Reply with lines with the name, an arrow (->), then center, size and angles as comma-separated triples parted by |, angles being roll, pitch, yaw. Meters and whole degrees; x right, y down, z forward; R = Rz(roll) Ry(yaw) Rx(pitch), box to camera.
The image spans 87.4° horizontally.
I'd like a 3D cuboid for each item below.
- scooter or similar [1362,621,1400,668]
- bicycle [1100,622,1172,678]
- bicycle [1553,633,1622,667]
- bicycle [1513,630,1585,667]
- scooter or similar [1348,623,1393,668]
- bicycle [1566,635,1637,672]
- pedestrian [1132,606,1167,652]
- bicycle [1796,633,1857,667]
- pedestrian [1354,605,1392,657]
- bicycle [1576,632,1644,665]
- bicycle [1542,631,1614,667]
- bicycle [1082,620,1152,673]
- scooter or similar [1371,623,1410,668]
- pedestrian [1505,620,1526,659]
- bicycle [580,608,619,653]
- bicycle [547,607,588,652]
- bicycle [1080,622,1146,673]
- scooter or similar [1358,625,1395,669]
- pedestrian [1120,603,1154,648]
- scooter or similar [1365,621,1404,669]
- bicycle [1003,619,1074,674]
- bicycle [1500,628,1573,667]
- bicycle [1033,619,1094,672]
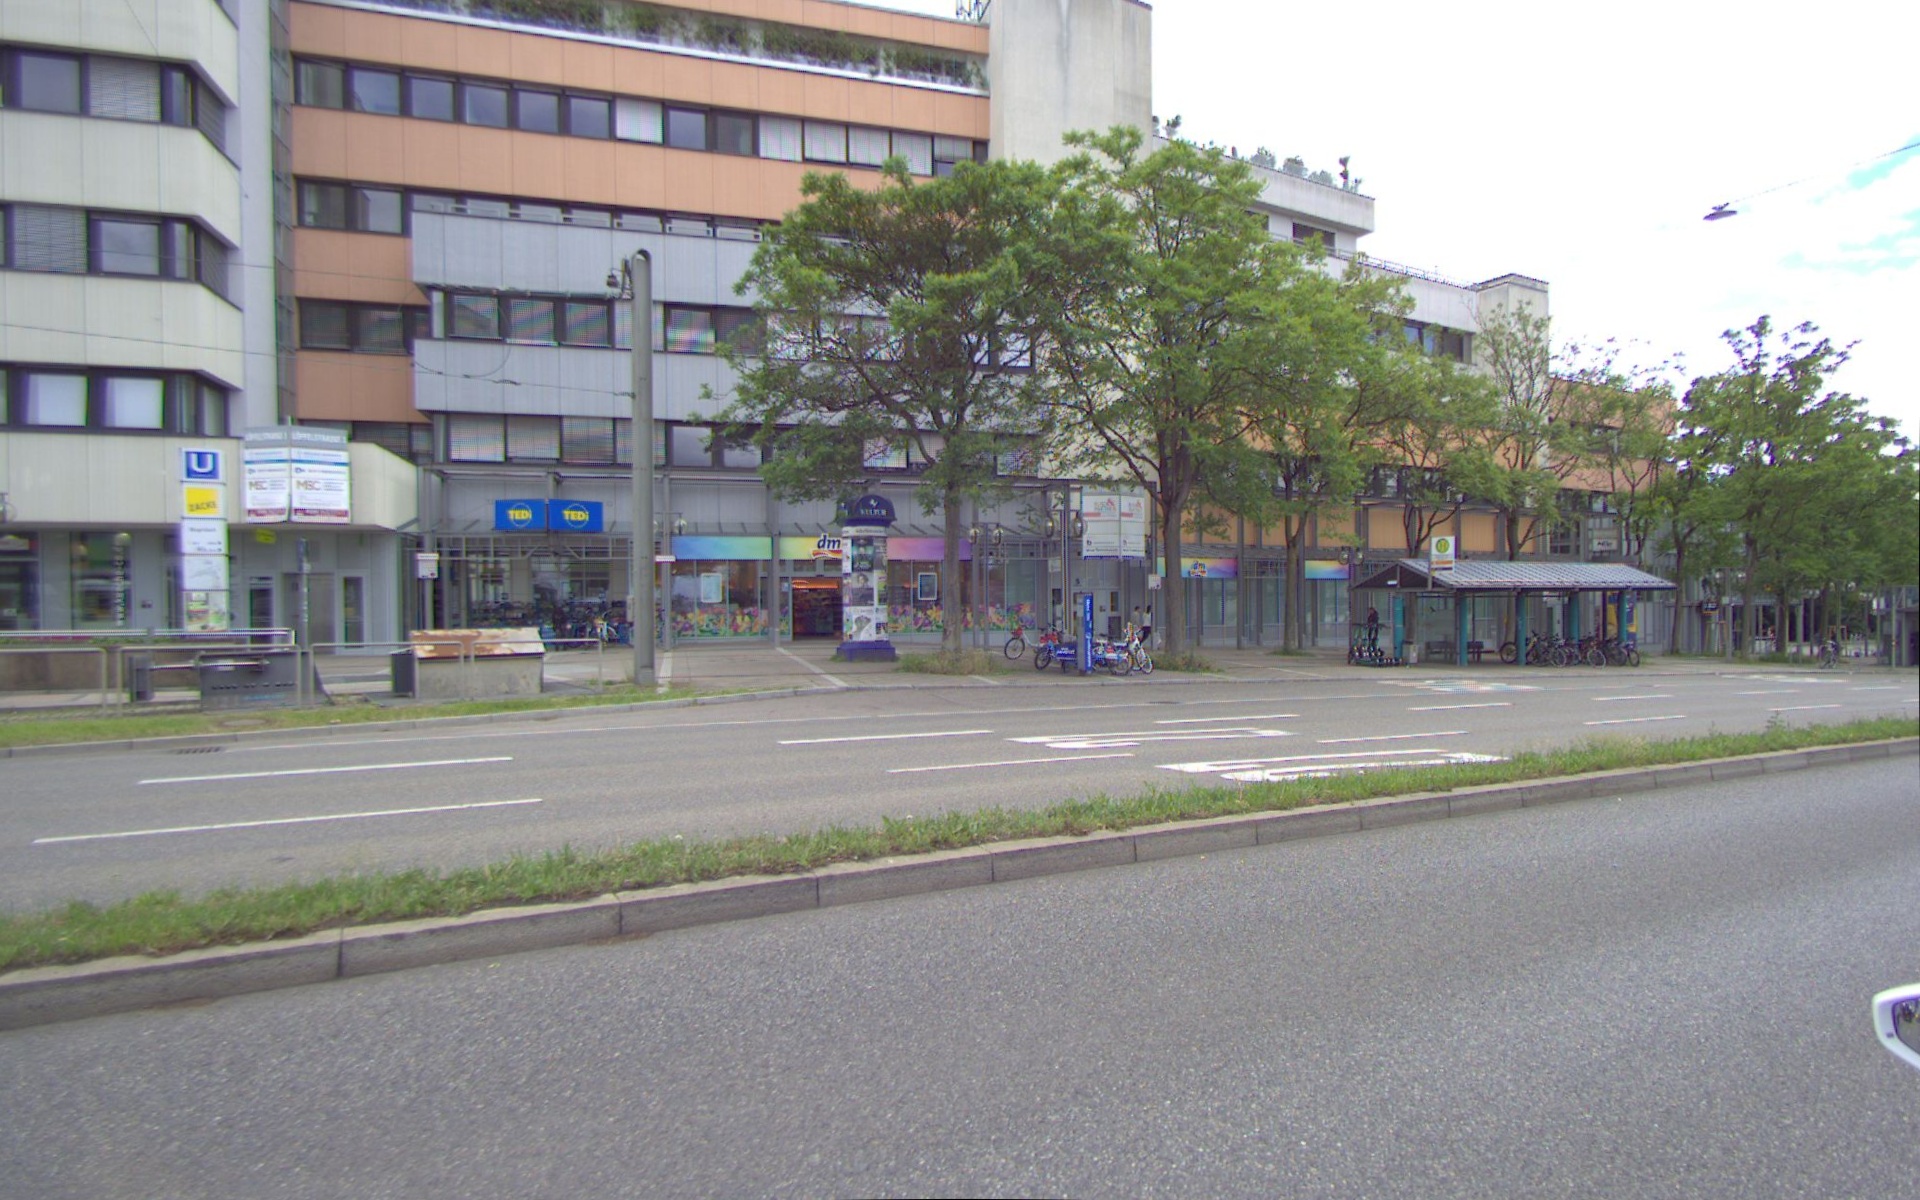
scooter or similar -> 12.934, 1.362, 30.893 | 0.219, 1.403, 1.196 | 1, -1, -30
bicycle -> 4.153, 1.175, 23.732 | 1.649, 1.270, 0.627 | 1, -1, 9
bicycle -> 22.959, 1.809, 36.776 | 0.706, 1.169, 2.048 | 1, -1, -39
bicycle -> 20.886, 1.703, 35.644 | 0.706, 1.169, 2.048 | 1, 1, -39
scooter or similar -> 12.446, 1.368, 30.483 | 0.335, 1.286, 1.315 | 1, 1, -30
bicycle -> 23.790, 1.953, 37.301 | 0.706, 1.169, 2.048 | 1, 2, -39
pedestrian -> 6.826, 1.029, 36.147 | 0.984, 1.639, 0.730 | 1, -1, -28
bicycle -> 35.229, 1.999, 40.814 | 2.394, 1.288, 1.047 | 1, 1, -28
pedestrian -> 14.325, 1.071, 34.837 | 0.984, 1.805, 0.730 | 1, -1, -28
bicycle -> 24.569, 1.811, 37.998 | 0.706, 1.169, 2.048 | 1, 0, -39
bicycle -> 21.961, 1.714, 35.746 | 0.706, 1.169, 2.048 | 1, 0, -39
bicycle -> 3.863, 1.132, 24.722 | 1.649, 1.270, 0.627 | 1, -1, 9
scooter or similar -> 13.388, 1.398, 31.229 | 0.256, 1.338, 1.196 | 1, -1, -30
pedestrian -> 24.036, 1.709, 43.456 | 0.665, 1.665, 0.531 | 1, -1, -23
bicycle -> -11.012, 0.930, 30.757 | 0.692, 1.337, 1.972 | 1, -1, -7
bicycle -> -11.989, 0.883, 30.724 | 0.692, 1.337, 1.972 | 1, -1, -7
bicycle -> 3.920, 1.211, 25.718 | 1.649, 1.270, 0.627 | 1, -1, 9
scooter or similar -> 12.723, 1.416, 30.715 | 0.265, 1.312, 1.121 | 1, -1, -31
pedestrian -> 6.541, 0.951, 37.048 | 0.984, 1.639, 0.730 | 1, -1, -28
scooter or similar -> 13.134, 1.379, 31.079 | 0.256, 1.442, 1.196 | 1, -1, -30
bicycle -> 1.893, 1.109, 24.110 | 1.649, 1.270, 0.627 | 0, -1, 10
bicycle -> 20.009, 1.621, 34.903 | 0.705, 1.169, 2.048 | 1, 2, -39
bicycle -> 2.542, 1.103, 24.734 | 1.441, 1.270, 0.432 | 0, -1, 12
